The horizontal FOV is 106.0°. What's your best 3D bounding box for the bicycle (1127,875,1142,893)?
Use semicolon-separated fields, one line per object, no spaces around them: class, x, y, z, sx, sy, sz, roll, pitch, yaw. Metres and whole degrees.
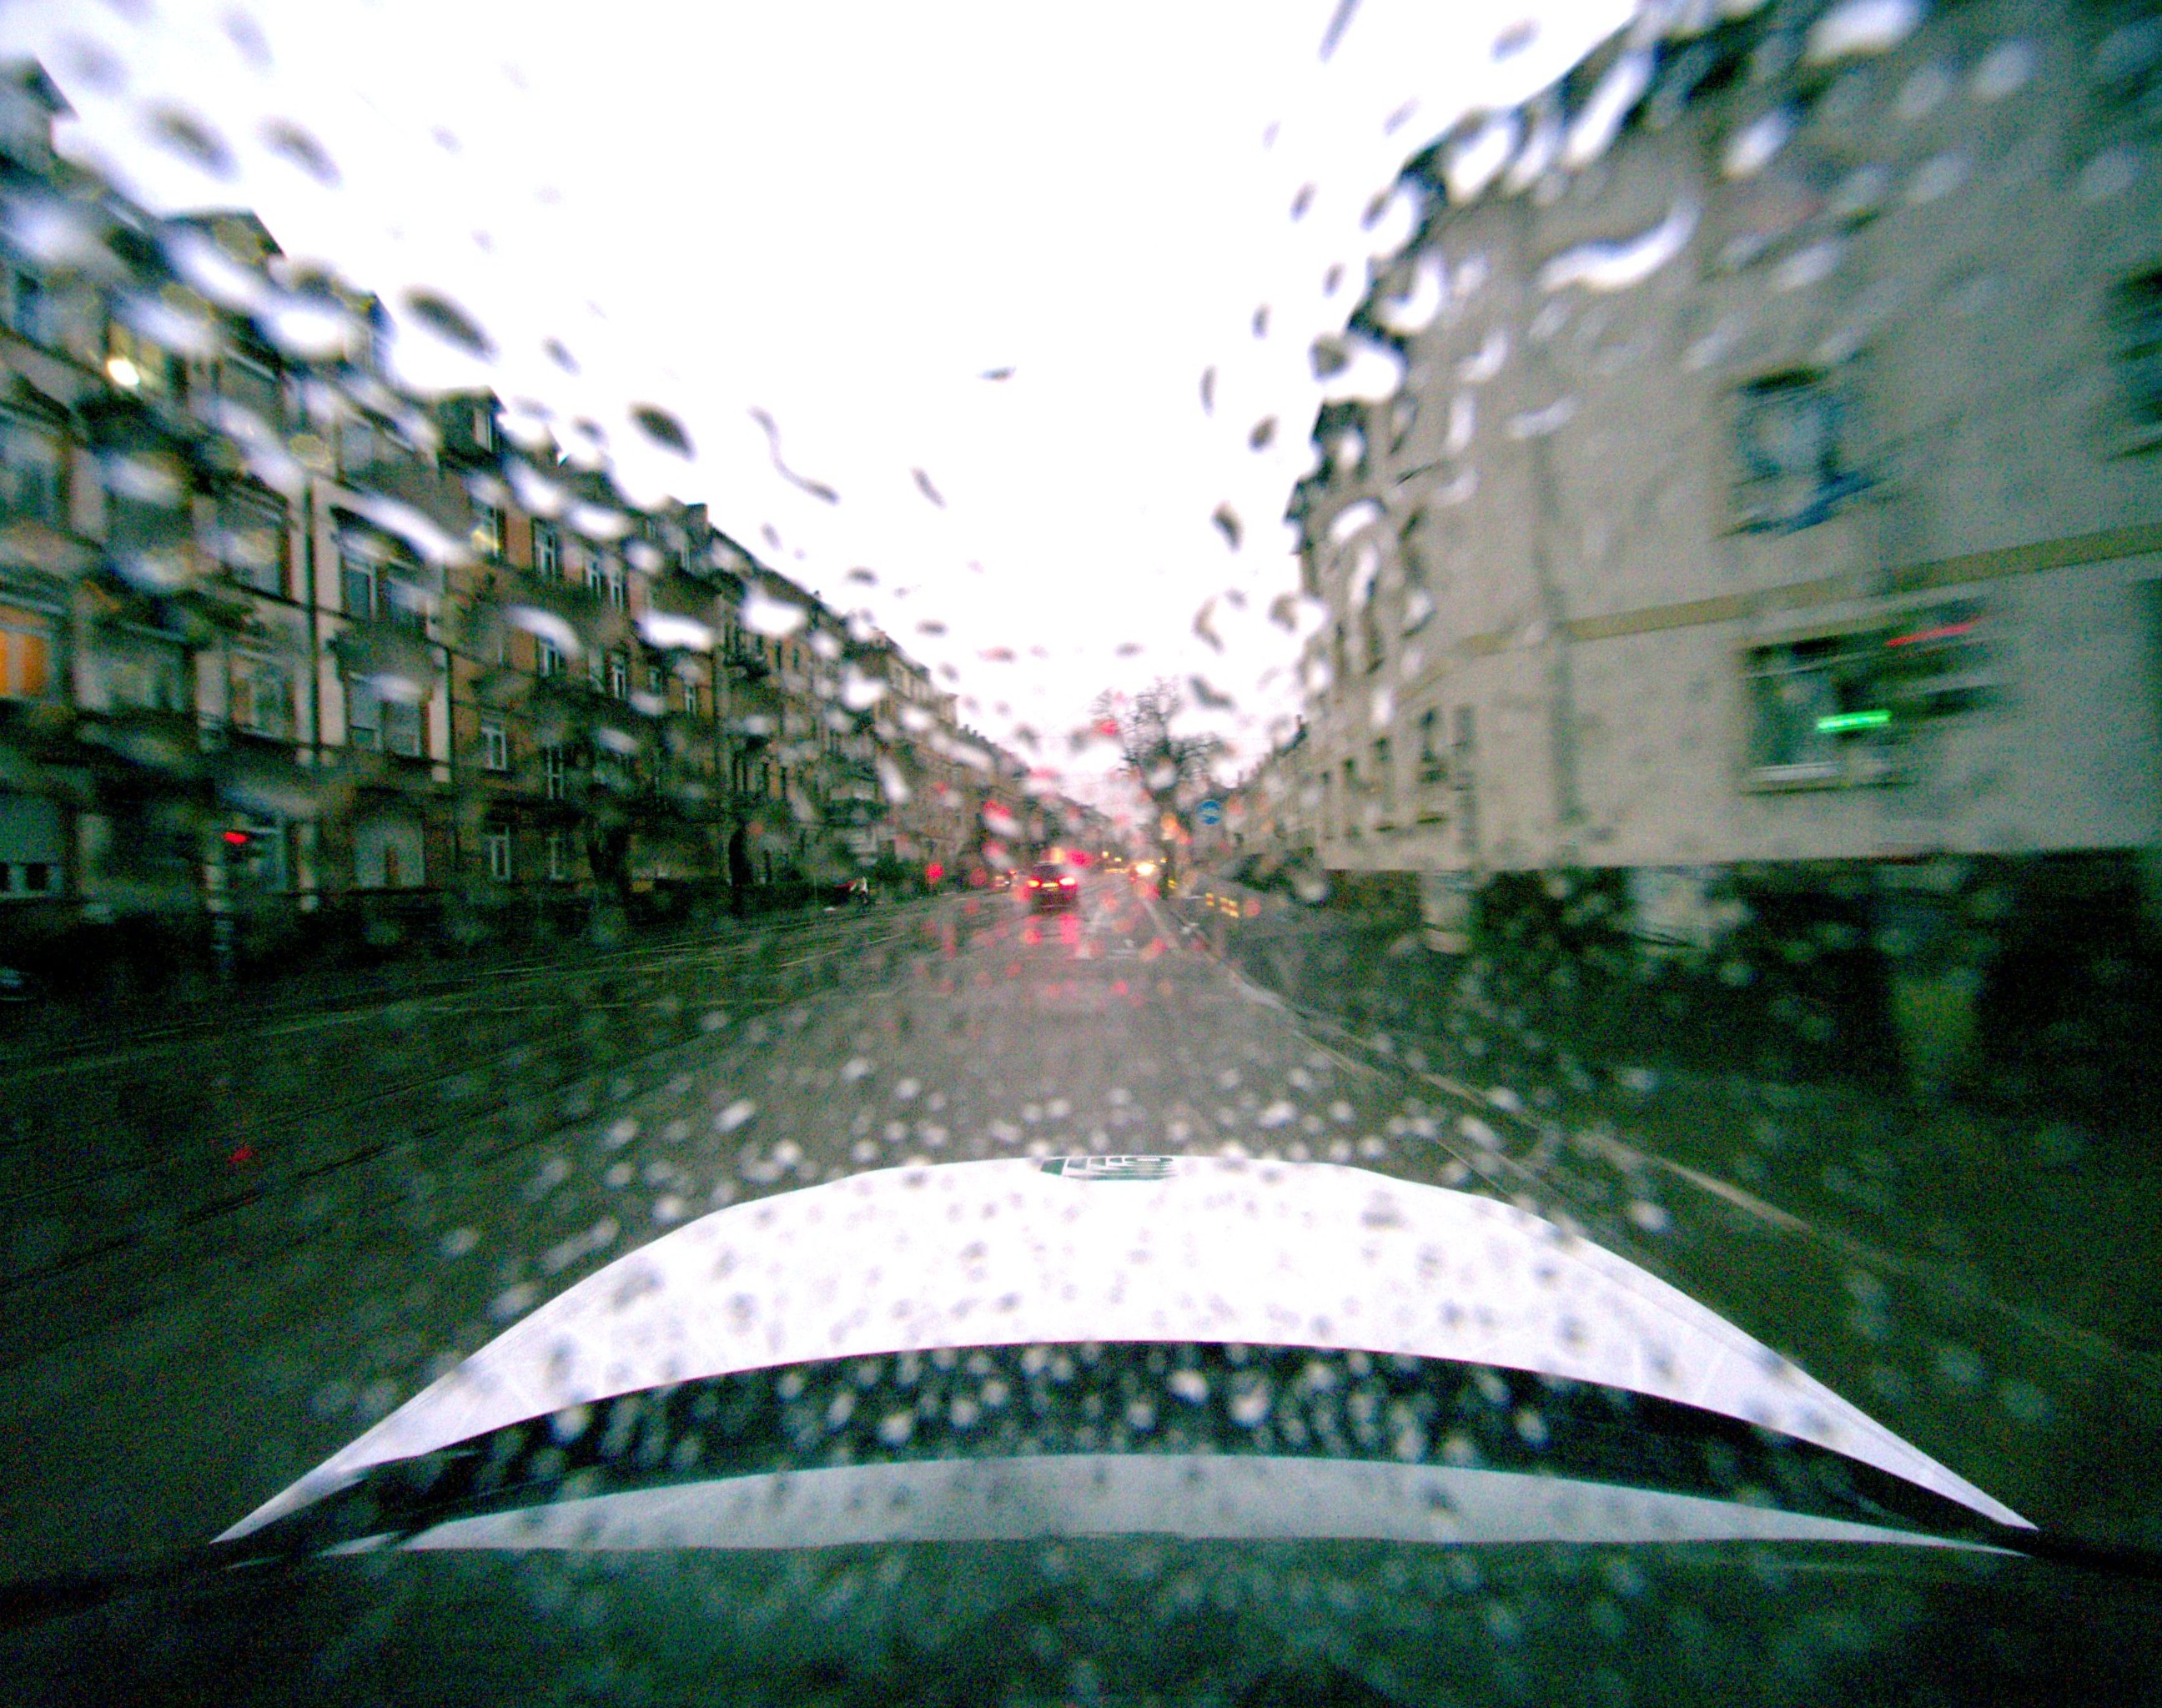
bicycle;3.123;1.737;47.655;0.727;1.007;1.767;-3;-1;7

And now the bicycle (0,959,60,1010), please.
bicycle;-18.318;2.220;13.426;0.396;0.759;1.822;-4;-1;42

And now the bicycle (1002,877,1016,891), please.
bicycle;-5.475;2.289;62.077;0.674;0.972;1.937;-3;-1;7

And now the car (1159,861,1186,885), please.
car;6.515;1.336;58.280;1.776;1.509;3.994;-3;-1;6

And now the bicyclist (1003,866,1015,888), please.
bicyclist;-5.510;1.754;62.040;0.680;1.616;0.767;-3;-1;7

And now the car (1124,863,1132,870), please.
car;12.952;3.459;225.479;1.914;1.720;4.007;-3;-1;6

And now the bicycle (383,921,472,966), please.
bicycle;-15.317;2.086;19.155;0.397;0.862;1.853;-3;-1;7

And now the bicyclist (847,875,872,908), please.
bicyclist;-9.443;1.585;34.726;0.700;1.364;0.946;-1;-1;8

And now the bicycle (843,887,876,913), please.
bicycle;-9.427;1.945;34.732;0.678;1.007;1.806;-3;-1;7

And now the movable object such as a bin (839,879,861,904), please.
movable object such as a bin;-12.303;1.986;43.344;0.891;1.292;0.747;-3;-1;4

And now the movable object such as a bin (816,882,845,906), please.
movable object such as a bin;-13.367;2.130;43.525;1.179;1.207;0.946;-3;-1;3

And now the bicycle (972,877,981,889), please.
bicycle;-8.560;2.357;66.621;0.262;0.915;1.688;3;0;6

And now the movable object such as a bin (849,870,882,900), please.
movable object such as a bin;-11.716;1.680;44.235;1.236;1.586;1.311;-2;-1;11

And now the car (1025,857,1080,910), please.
car;-1.009;1.066;30.857;1.795;1.871;4.019;0;-1;2

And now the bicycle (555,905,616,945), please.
bicycle;-14.531;2.063;23.939;0.414;1.007;1.853;-3;-1;7

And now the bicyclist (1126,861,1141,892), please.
bicyclist;3.096;1.314;47.662;0.726;1.736;0.767;-3;-1;7
